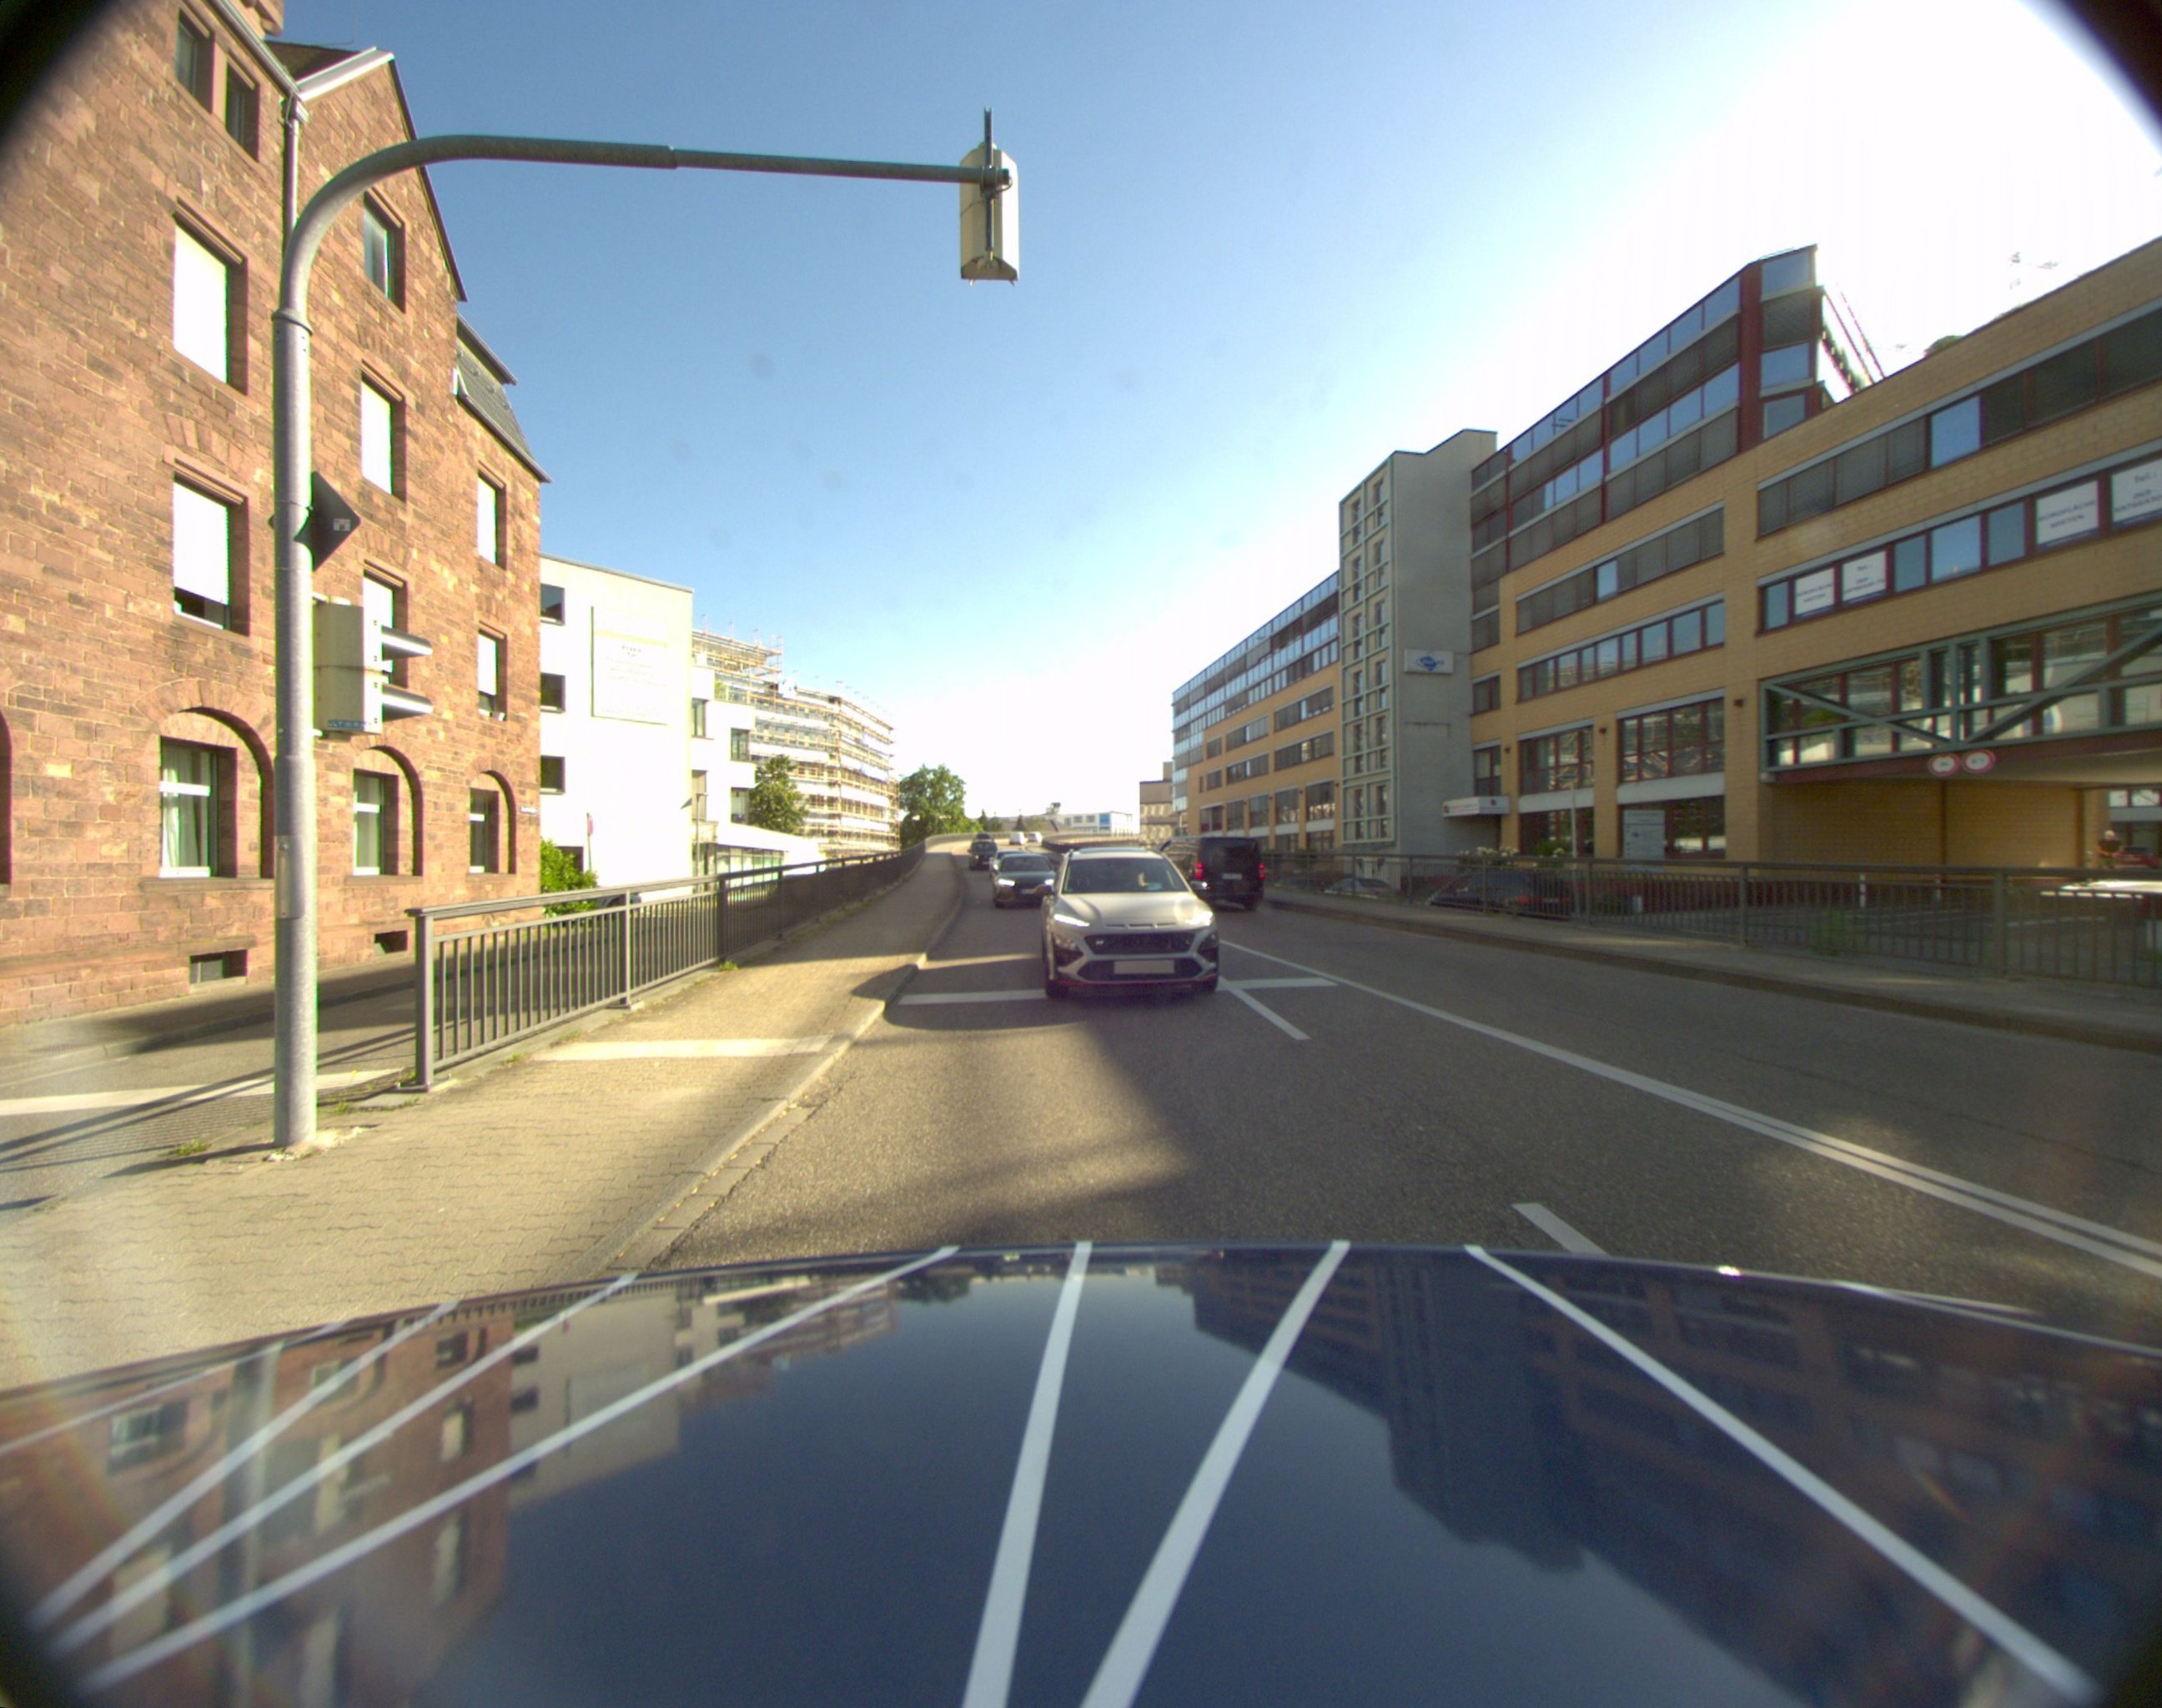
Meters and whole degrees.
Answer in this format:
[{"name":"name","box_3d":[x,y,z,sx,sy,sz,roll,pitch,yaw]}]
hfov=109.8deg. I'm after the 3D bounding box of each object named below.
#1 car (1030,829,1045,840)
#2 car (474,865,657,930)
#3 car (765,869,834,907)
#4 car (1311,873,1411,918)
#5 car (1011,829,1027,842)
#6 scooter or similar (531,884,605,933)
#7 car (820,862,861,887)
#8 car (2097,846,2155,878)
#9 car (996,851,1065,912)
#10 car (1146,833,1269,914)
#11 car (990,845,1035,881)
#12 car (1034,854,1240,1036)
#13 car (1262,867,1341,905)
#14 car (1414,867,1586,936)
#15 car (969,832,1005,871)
[{"name":"car","box_3d":[-7.012,-3.116,122.632,1.824,1.594,4.002,0,0,6]},{"name":"car","box_3d":[-16.951,1.336,25.175,1.823,1.757,4.658,1,2,42]},{"name":"car","box_3d":[-13.008,1.537,35.380,1.850,1.422,4.678,-1,2,-6]},{"name":"car","box_3d":[11.118,1.590,30.537,1.826,1.594,4.353,0,0,-10]},{"name":"car","box_3d":[-8.789,-2.630,108.159,1.815,1.791,5.120,0,0,-1]},{"name":"scooter or similar","box_3d":[-14.247,1.501,21.158,1.463,1.212,0.784,-3,1,-14]},{"name":"car","box_3d":[-15.481,1.297,49.130,1.850,1.526,3.997,0,0,-7]},{"name":"car","box_3d":[53.736,0.408,39.118,3.159,1.564,1.639,0,-1,-38]},{"name":"car","box_3d":[-1.536,0.701,21.788,1.722,1.483,4.165,-1,2,-7]},{"name":"car","box_3d":[3.266,0.492,20.756,2.000,1.924,4.849,0,0,-7]},{"name":"car","box_3d":[-3.359,0.366,36.729,1.850,1.527,4.503,-1,2,-9]},{"name":"car","box_3d":[0.400,0.823,8.991,1.849,1.561,4.219,-1,1,-3]},{"name":"car","box_3d":[10.307,1.456,35.904,1.826,1.594,4.353,0,0,-10]},{"name":"car","box_3d":[12.432,1.323,22.954,1.957,1.747,4.683,-1,0,-11]},{"name":"car","box_3d":[-5.888,-0.226,47.188,1.911,2.202,4.592,-1,3,-11]}]
